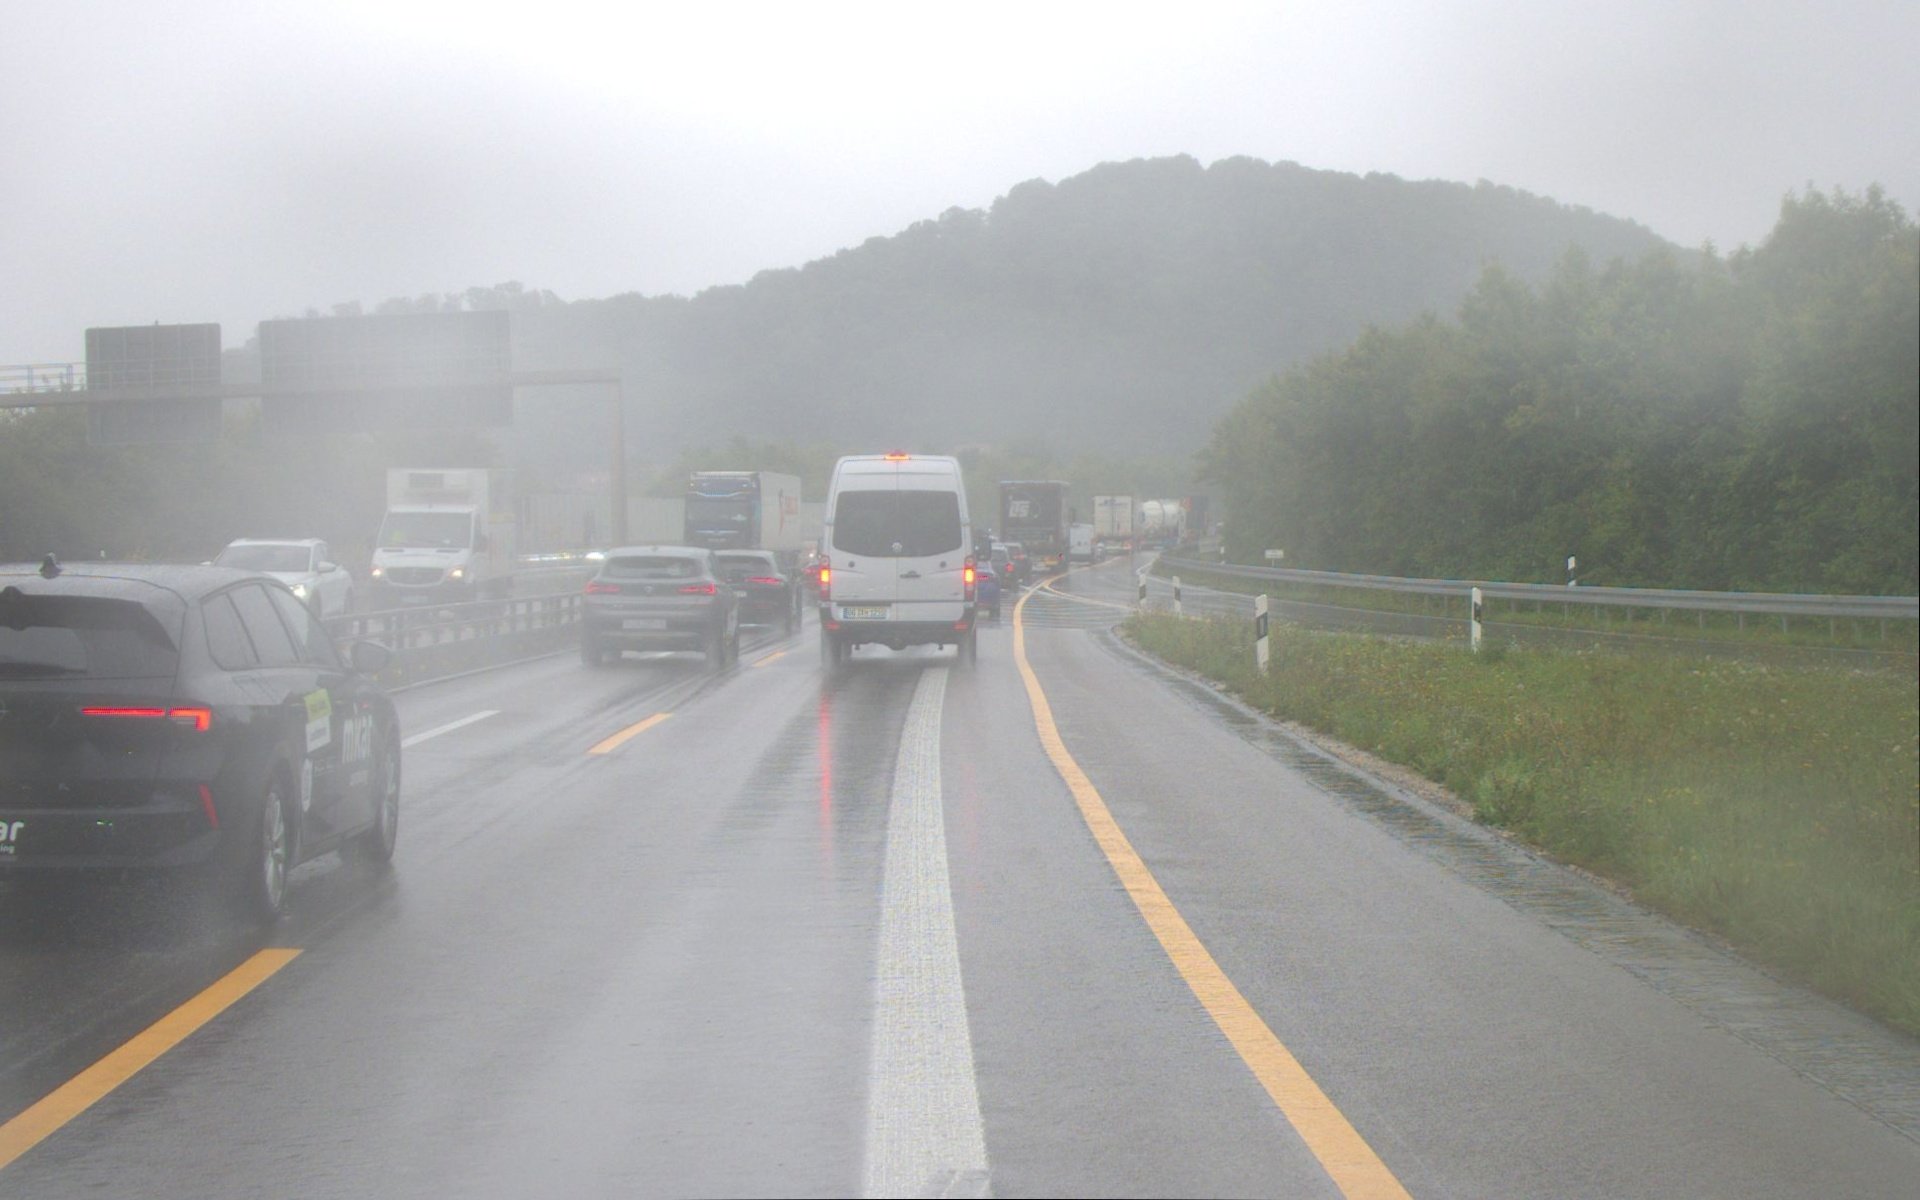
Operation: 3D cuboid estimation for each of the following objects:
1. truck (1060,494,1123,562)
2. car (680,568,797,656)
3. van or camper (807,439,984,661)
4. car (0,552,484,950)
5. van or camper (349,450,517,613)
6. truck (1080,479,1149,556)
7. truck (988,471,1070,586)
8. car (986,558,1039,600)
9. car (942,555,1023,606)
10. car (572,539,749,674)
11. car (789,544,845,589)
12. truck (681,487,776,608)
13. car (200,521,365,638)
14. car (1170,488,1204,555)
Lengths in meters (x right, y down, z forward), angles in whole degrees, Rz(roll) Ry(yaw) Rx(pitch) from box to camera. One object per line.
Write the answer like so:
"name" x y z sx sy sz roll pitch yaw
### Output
"truck" 7.629 -4.144 200.199 3.320 3.749 9.907 1 0 1
"car" -3.909 0.191 61.196 1.852 1.495 4.000 0 1 -1
"van or camper" -0.775 -0.645 44.436 2.139 2.712 4.648 0 1 1
"car" -3.289 0.515 14.774 1.938 1.422 4.760 1 1 -2
"van or camper" -10.398 -1.316 68.361 2.293 3.031 6.699 1 0 -1
"truck" 10.148 -5.347 225.225 3.929 4.768 9.905 1 0 5
"truck" 2.967 -3.051 149.824 3.320 4.768 9.907 1 0 1
"car" 1.561 -0.635 103.032 1.384 1.252 3.123 0 1 -3
"car" 0.457 -0.423 73.066 1.384 1.074 3.123 0 1 -6
"car" -3.803 0.052 44.225 1.867 1.653 3.988 0 1 1
"car" -3.475 -0.812 83.816 1.262 1.074 3.255 0 1 -1
"truck" -8.325 -1.859 124.098 2.889 4.217 6.326 0 0 1
"car" -10.293 -0.315 52.527 1.636 1.662 4.544 1 0 -1
"car" 14.316 -4.941 217.314 2.058 4.177 6.745 0 1 3
